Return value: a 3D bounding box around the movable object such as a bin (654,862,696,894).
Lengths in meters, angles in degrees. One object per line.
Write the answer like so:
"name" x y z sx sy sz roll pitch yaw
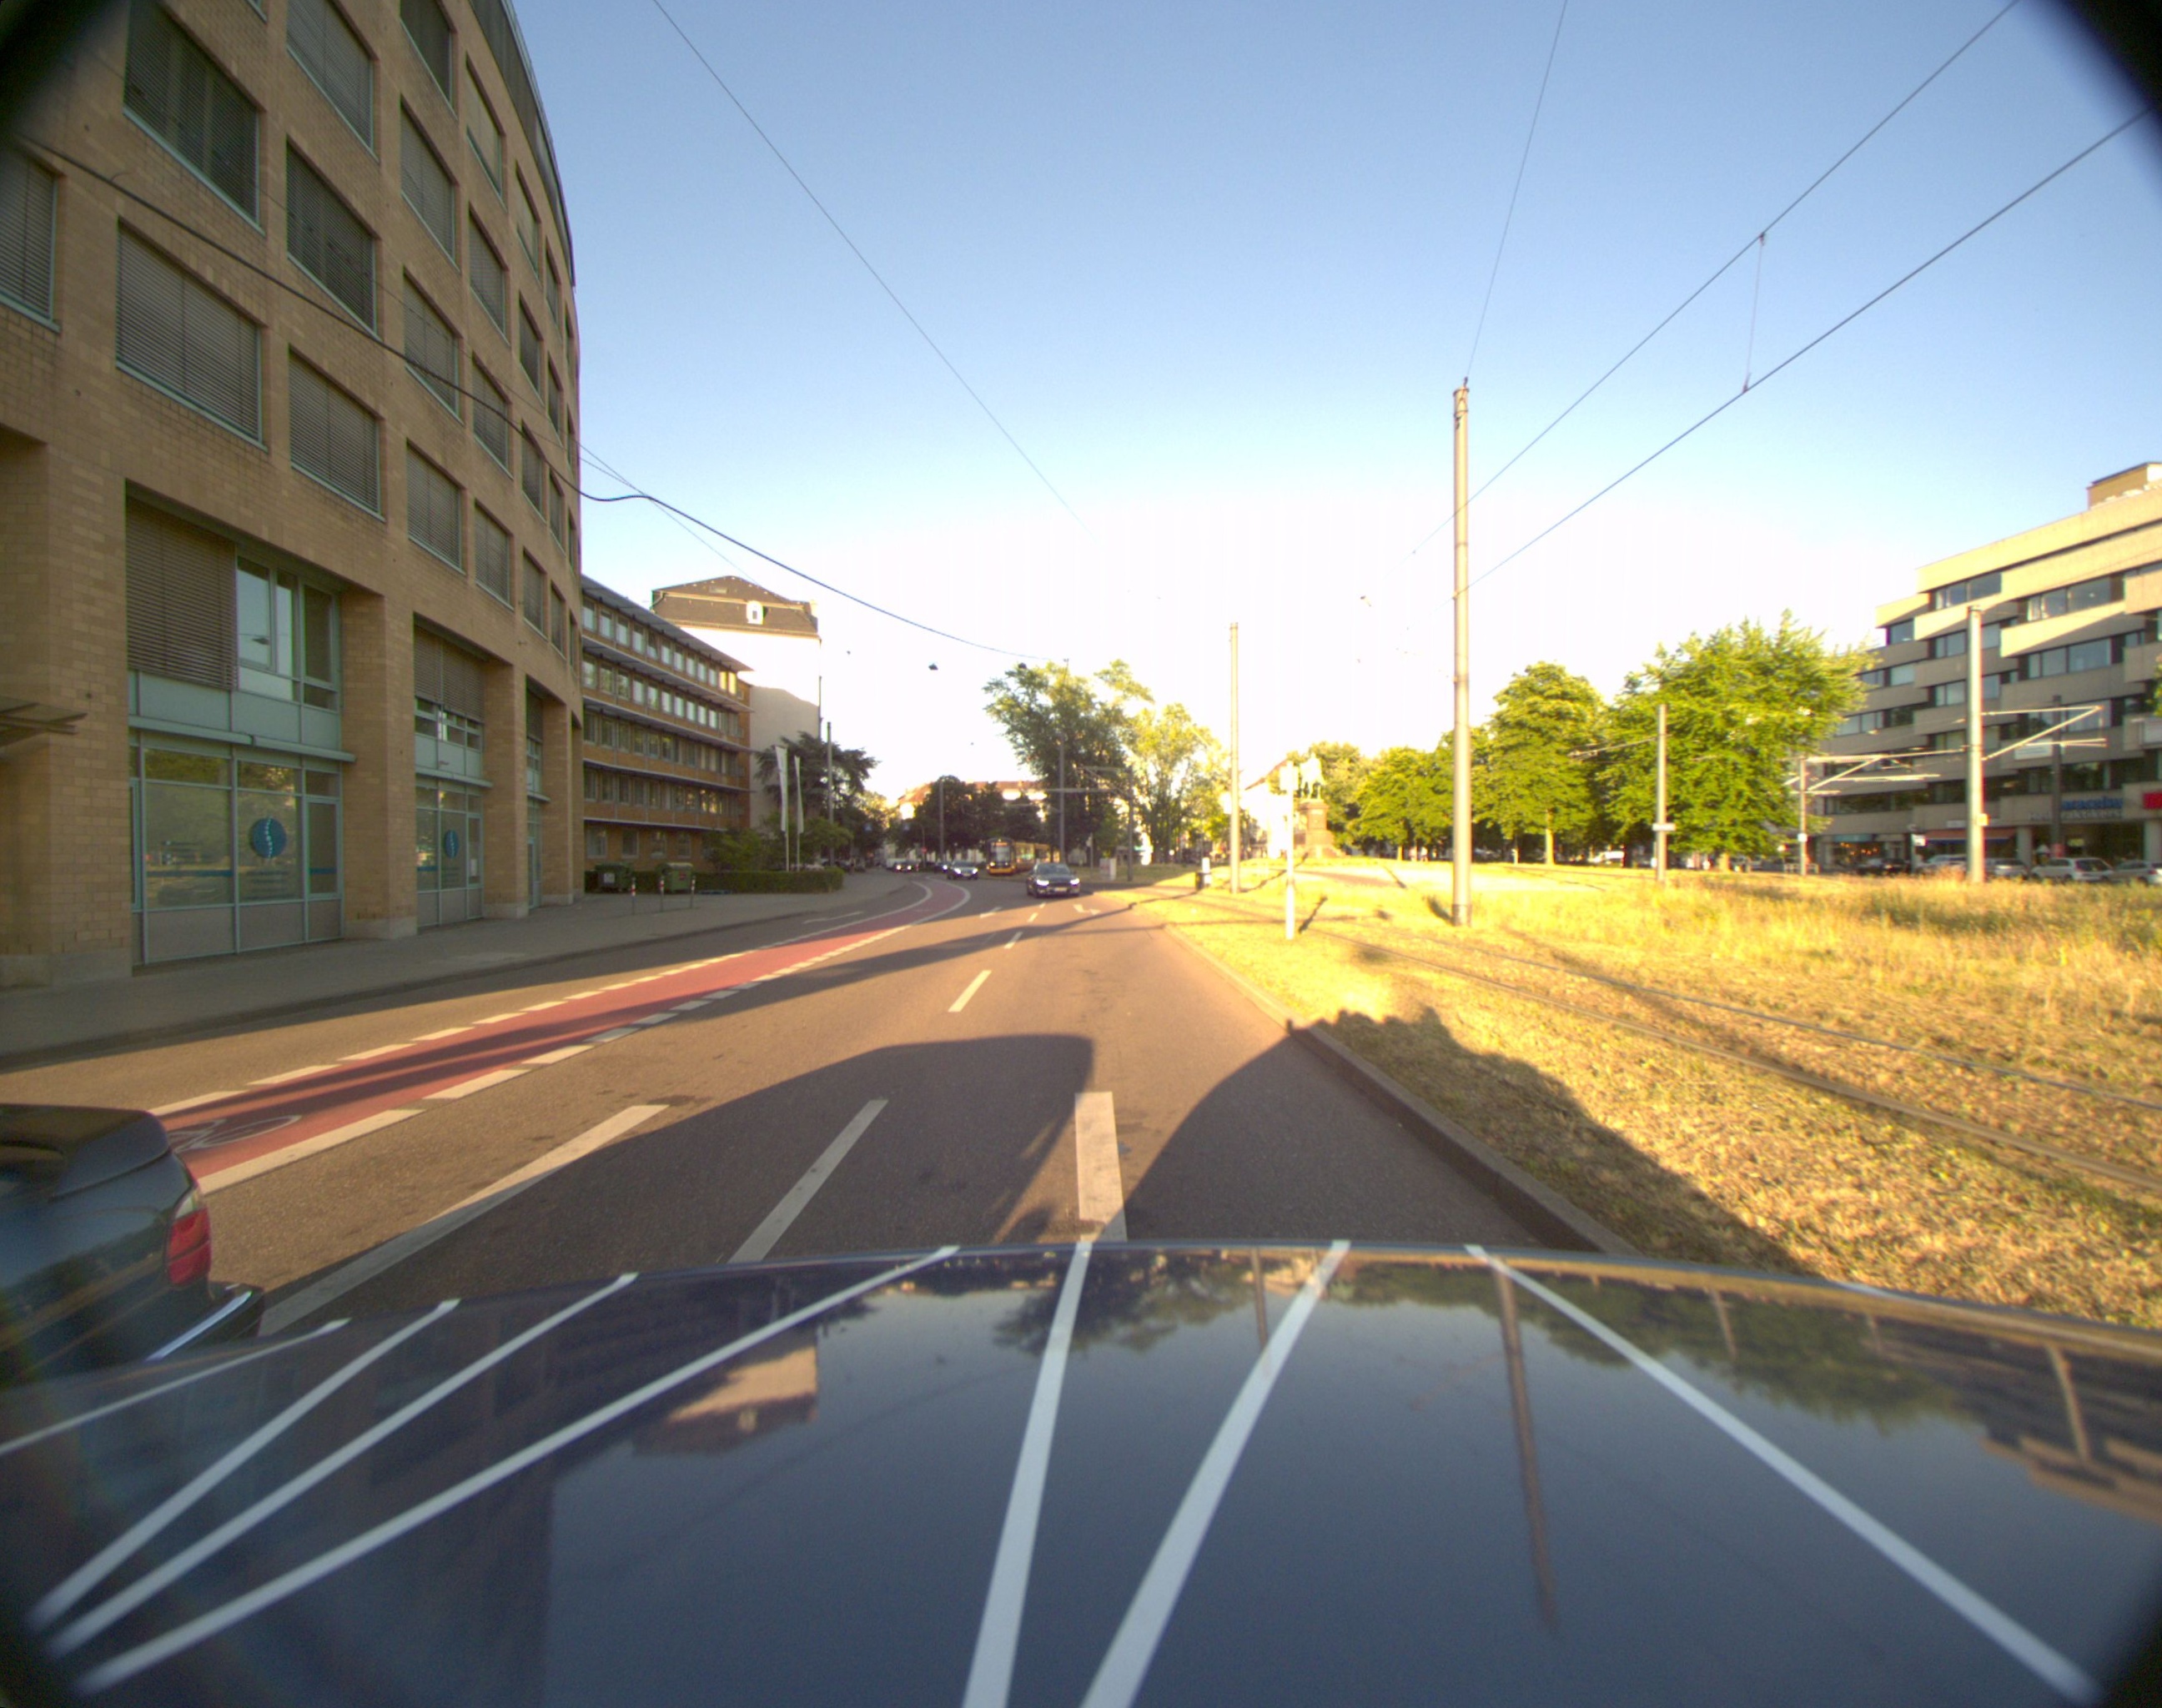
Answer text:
"movable object such as a bin" -18.246 1.078 34.180 0.972 1.429 1.347 0 -1 19

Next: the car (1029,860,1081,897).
"car" -1.184 1.034 32.735 1.821 1.473 4.133 -1 -1 -8

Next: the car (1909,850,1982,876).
"car" 61.328 0.685 53.986 1.755 1.784 4.217 -1 -1 23

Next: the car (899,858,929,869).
"car" -24.558 1.405 111.726 4.067 1.542 1.999 0 -1 -6

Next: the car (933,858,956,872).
"car" -14.756 1.256 82.218 1.823 1.473 4.129 0 -1 -19

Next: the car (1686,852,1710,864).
"car" 83.992 0.516 103.480 1.793 1.570 4.008 -1 -1 27

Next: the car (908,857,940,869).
"car" -21.520 1.221 104.227 4.067 1.547 1.865 0 -1 -6

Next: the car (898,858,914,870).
"car" -21.890 1.251 94.857 1.822 1.473 4.131 -1 -1 -14

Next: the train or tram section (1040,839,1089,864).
"train or tram section" -2.005 -0.344 98.689 2.920 3.123 12.659 -1 0 15

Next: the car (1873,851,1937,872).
"car" 64.391 0.633 59.438 1.861 1.547 4.076 -1 -1 23

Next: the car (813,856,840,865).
"car" -45.568 1.125 136.068 4.404 1.603 1.726 0 -1 -23

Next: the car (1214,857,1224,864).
"car" 32.934 1.582 181.448 1.801 1.542 3.968 0 -1 1

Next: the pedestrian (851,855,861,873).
"pedestrian" -21.972 0.981 74.118 0.591 1.781 0.822 0 -1 11

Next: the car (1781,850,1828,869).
"car" 70.423 0.551 73.990 1.935 1.784 4.217 -1 -1 23

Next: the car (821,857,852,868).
"car" -34.015 1.165 105.639 4.072 1.560 1.835 0 -1 -19

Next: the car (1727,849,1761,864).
"car" 76.179 0.356 87.350 1.755 1.653 4.007 -1 -1 23

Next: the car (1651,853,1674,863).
"car" 82.863 0.613 108.289 1.707 1.382 4.008 -1 -1 24

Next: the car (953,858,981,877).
"car" -9.016 1.068 59.871 1.822 1.473 4.131 0 -1 -13

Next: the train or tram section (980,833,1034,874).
"train or tram section" -6.905 -0.113 73.220 2.947 3.563 13.370 -1 0 4

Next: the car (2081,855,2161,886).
"car" 54.169 0.844 39.045 1.755 1.542 4.008 -1 -1 26

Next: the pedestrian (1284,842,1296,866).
"pedestrian" 14.936 0.006 54.261 0.476 1.680 0.835 0 0 -14

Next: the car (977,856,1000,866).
"car" -16.985 1.330 139.126 4.011 1.714 1.701 0 -1 -1

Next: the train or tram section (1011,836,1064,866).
"train or tram section" -4.706 -0.307 86.122 2.927 3.123 12.867 -1 0 11

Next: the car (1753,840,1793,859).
"car" 72.754 -0.440 79.927 1.755 1.932 4.217 -1 -1 23

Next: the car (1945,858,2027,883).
"car" 58.586 1.051 49.291 1.755 1.542 4.007 -1 -1 23

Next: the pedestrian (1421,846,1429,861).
"pedestrian" 37.569 -0.072 83.018 0.619 1.571 0.553 0 -1 2

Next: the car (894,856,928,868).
"car" -28.271 1.300 126.313 5.078 1.891 2.122 0 -1 2

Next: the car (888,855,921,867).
"car" -29.948 1.175 128.969 5.078 2.010 1.968 0 -1 2

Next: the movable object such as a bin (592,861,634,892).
"movable object such as a bin" -21.258 1.023 34.534 1.345 1.415 0.923 0 -1 -7

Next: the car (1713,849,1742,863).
"car" 78.501 0.271 92.326 1.793 1.570 4.008 -1 -1 27

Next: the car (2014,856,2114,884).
"car" 56.384 0.937 43.677 1.755 1.542 4.007 -1 -1 23
